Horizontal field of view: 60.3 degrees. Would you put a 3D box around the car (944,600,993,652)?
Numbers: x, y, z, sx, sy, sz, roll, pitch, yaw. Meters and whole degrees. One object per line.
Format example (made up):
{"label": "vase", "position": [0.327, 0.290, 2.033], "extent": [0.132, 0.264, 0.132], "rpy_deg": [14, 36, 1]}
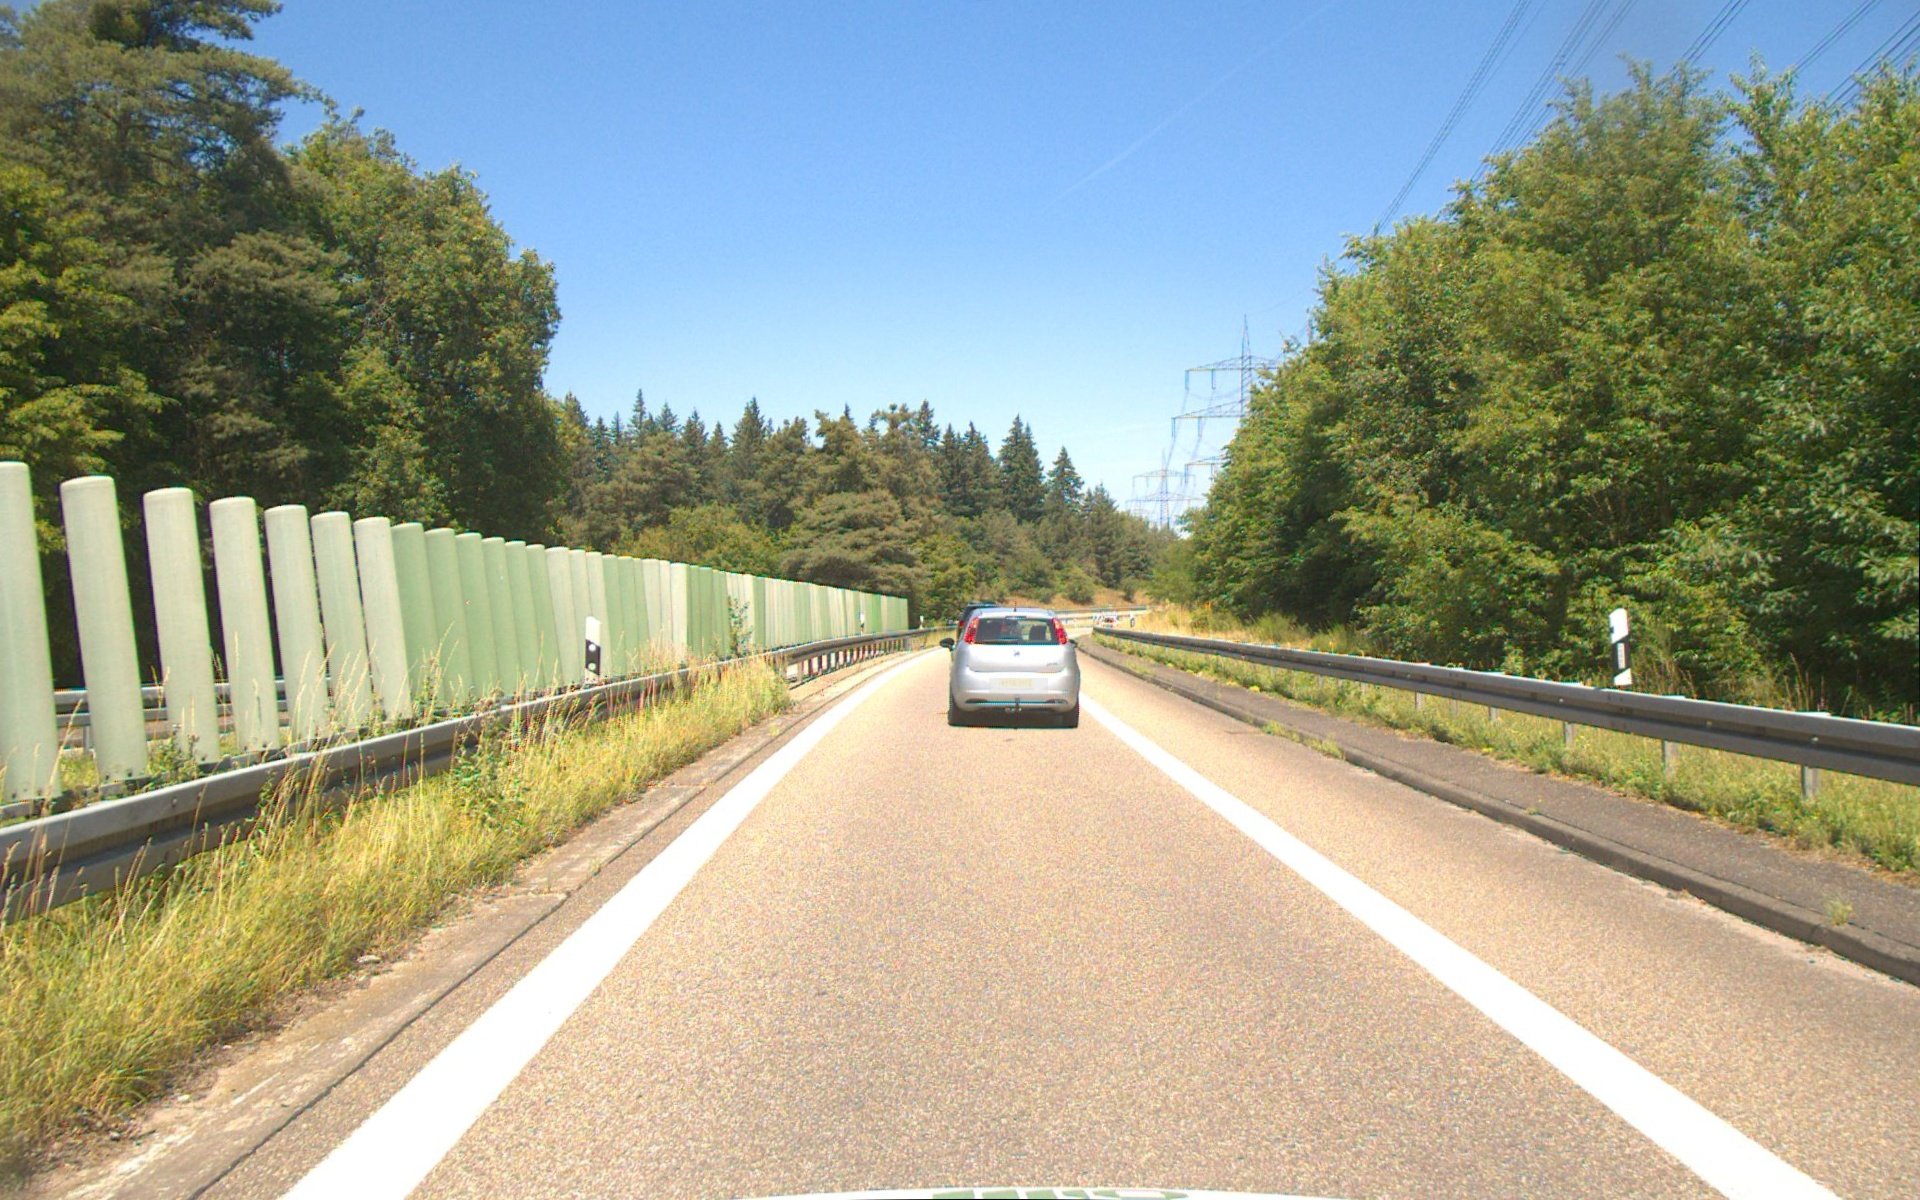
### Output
{"label": "car", "position": [0.298, 0.875, 57.447], "extent": [1.671, 1.705, 3.398], "rpy_deg": [0, 0, 0]}

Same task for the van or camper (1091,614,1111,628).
{"label": "van or camper", "position": [15.086, 2.241, 176.781], "extent": [1.768, 1.512, 4.004], "rpy_deg": [0, 0, 10]}

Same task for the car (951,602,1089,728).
{"label": "car", "position": [0.809, 0.796, 21.915], "extent": [1.671, 1.507, 3.399], "rpy_deg": [0, 0, 3]}
